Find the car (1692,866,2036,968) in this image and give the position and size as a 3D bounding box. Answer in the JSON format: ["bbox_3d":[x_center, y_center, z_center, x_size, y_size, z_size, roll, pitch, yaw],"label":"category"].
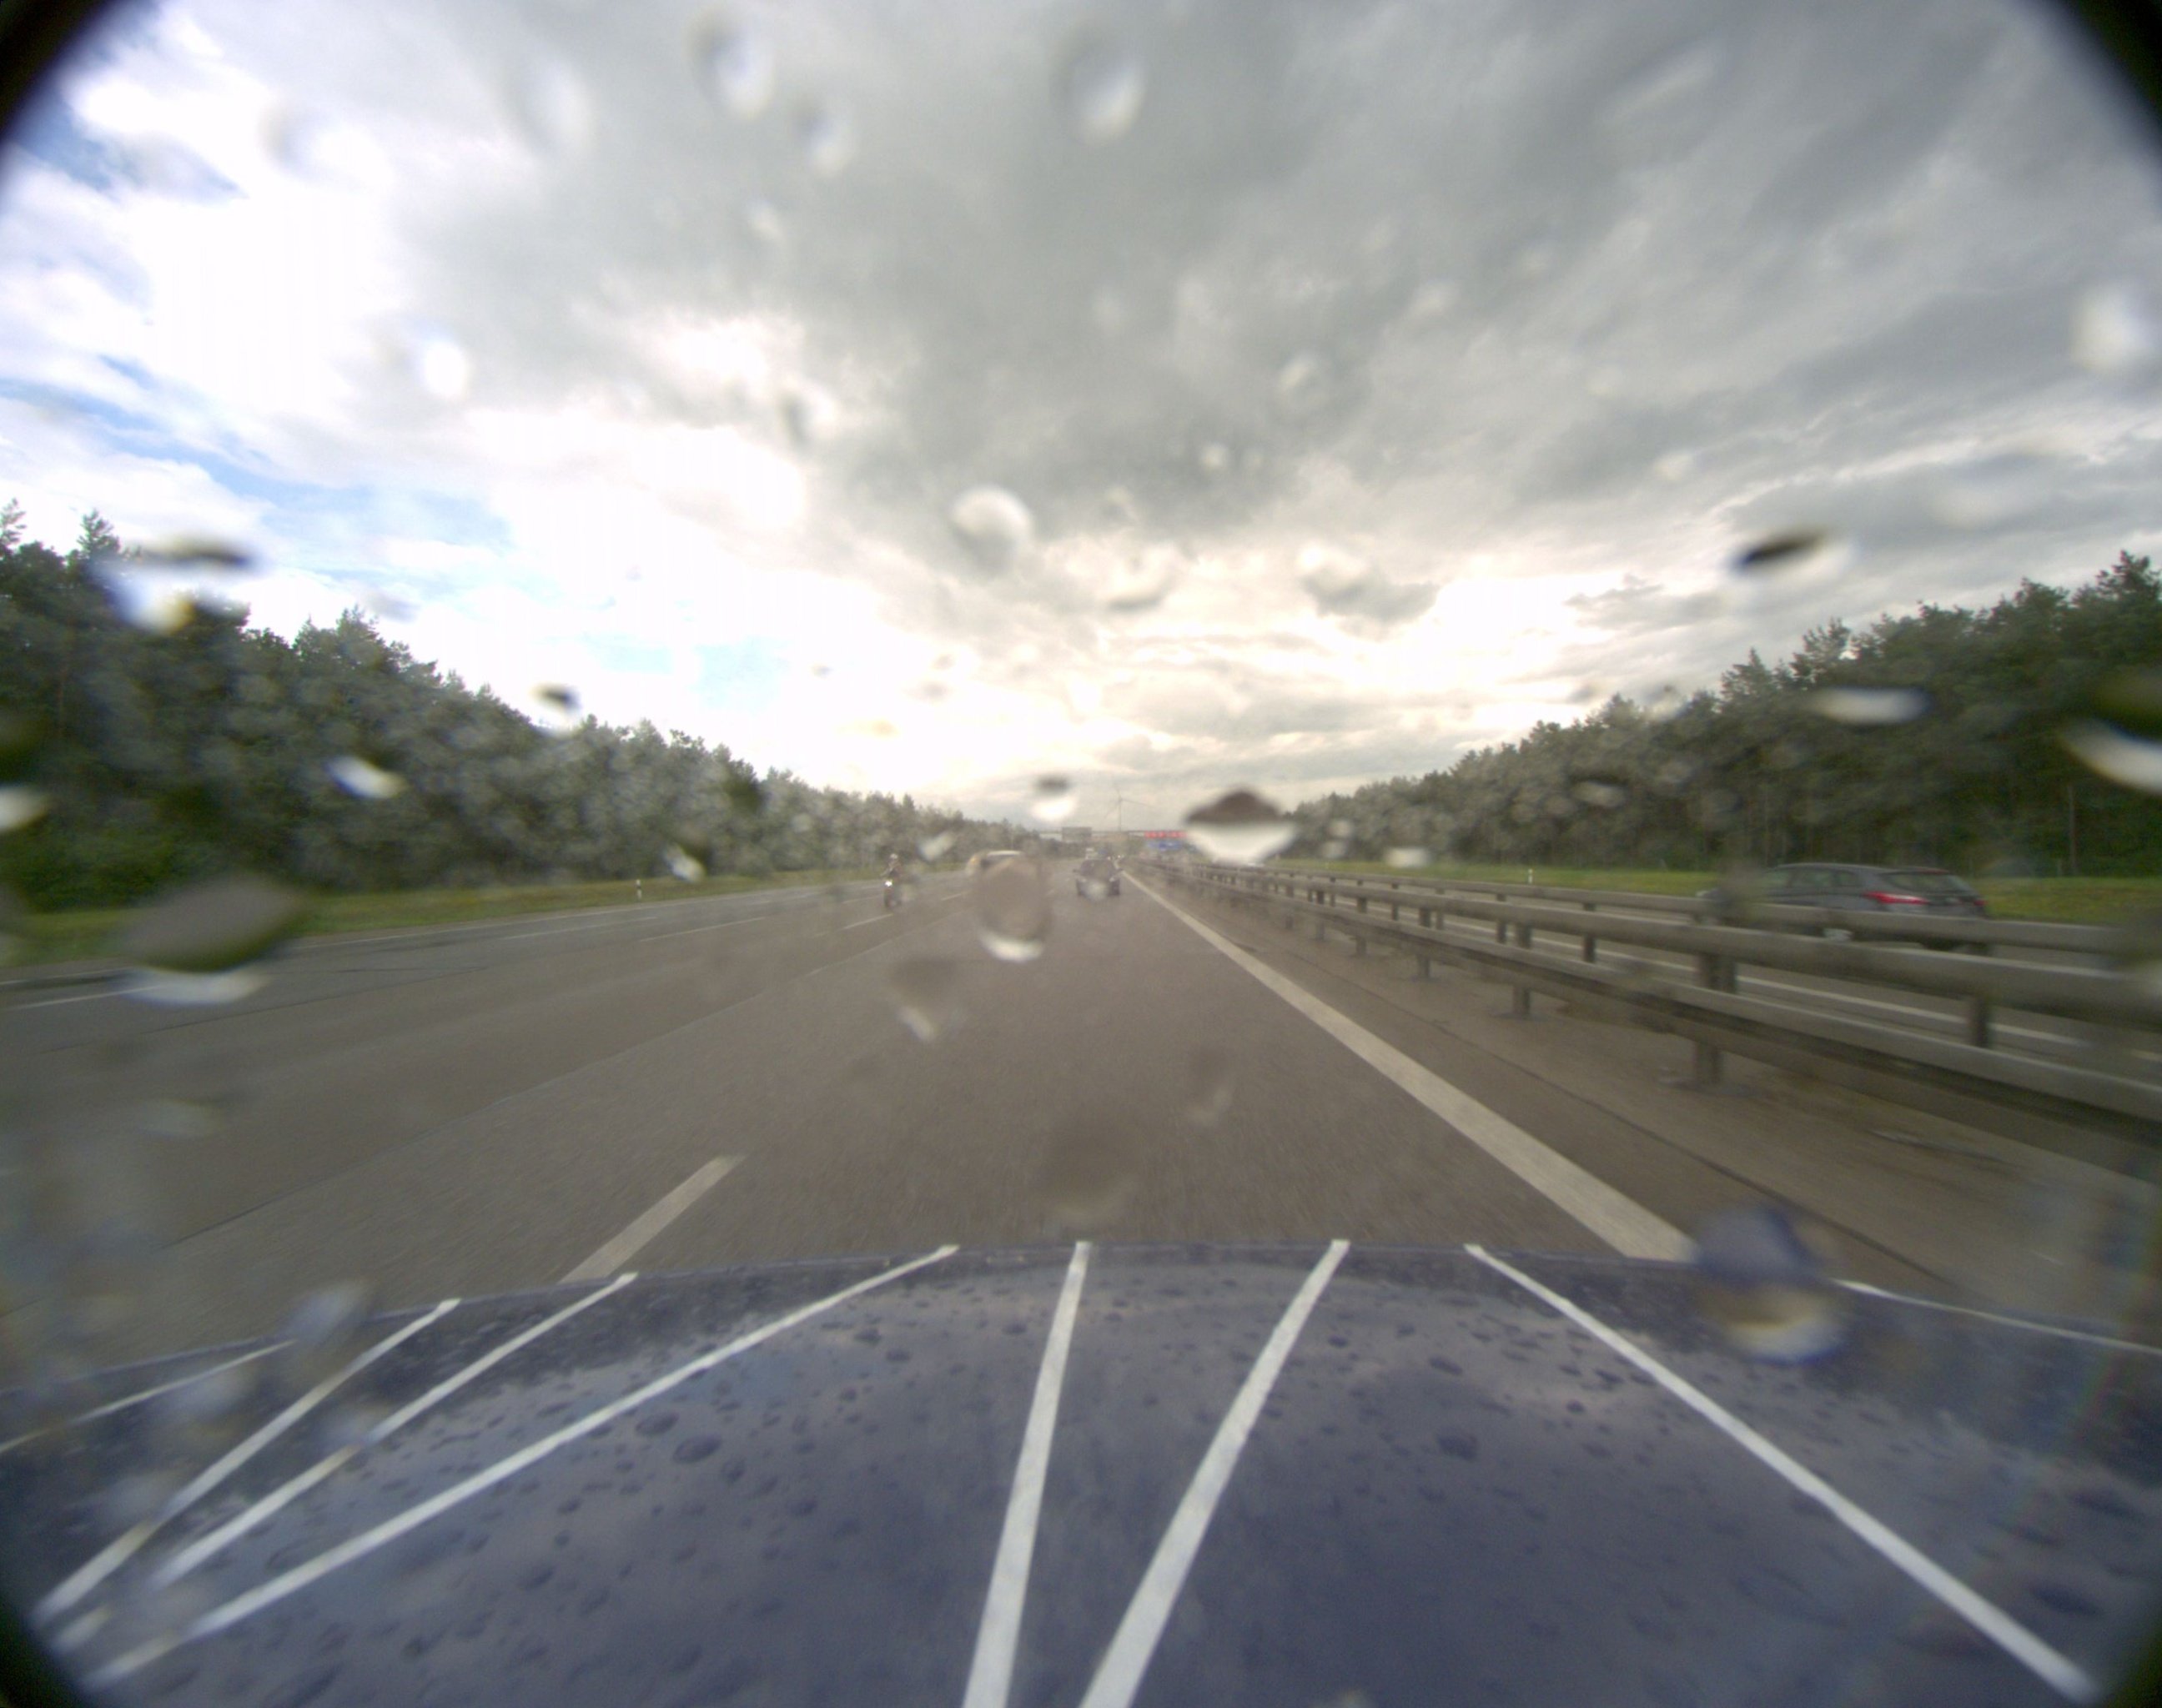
[{"bbox_3d":[13.650,0.989,13.709,1.816,1.414,4.236,2,0,1],"label":"car"}]

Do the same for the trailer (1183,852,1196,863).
[{"bbox_3d":[16.813,0.556,118.233,1.484,1.663,3.208,1,0,0],"label":"trailer"}]

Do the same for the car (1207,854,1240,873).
[{"bbox_3d":[10.832,0.691,58.006,1.732,1.381,4.092,1,0,0],"label":"car"}]

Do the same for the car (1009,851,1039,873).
[{"bbox_3d":[-5.552,0.764,74.517,1.998,2.002,5.485,-2,0,6],"label":"car"}]

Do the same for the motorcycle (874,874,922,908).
[{"bbox_3d":[-6.217,1.247,25.953,1.002,1.025,2.174,-1,0,3],"label":"motorcycle"}]

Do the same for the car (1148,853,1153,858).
[{"bbox_3d":[24.164,0.491,264.170,1.757,1.570,3.848,-1,0,2],"label":"car"}]

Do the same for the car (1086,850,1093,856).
[{"bbox_3d":[2.916,-0.326,251.340,1.998,2.002,4.001,0,0,3],"label":"car"}]

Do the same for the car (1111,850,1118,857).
[{"bbox_3d":[9.965,-0.138,228.111,1.832,1.838,3.999,-3,0,-1],"label":"car"}]

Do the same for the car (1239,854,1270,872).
[{"bbox_3d":[14.732,0.720,64.717,1.732,1.472,3.999,0,0,0],"label":"car"}]

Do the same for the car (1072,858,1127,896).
[{"bbox_3d":[0.816,0.861,30.021,1.809,1.321,4.433,-1,0,6],"label":"car"}]

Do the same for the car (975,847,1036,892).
[{"bbox_3d":[-3.315,0.649,34.301,1.968,1.890,4.882,-1,0,4],"label":"car"}]

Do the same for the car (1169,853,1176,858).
[{"bbox_3d":[27.636,0.490,228.902,1.728,1.388,4.184,2,0,2],"label":"car"}]

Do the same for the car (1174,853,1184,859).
[{"bbox_3d":[23.964,0.514,185.967,1.904,1.539,4.513,2,0,2],"label":"car"}]

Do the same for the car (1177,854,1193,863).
[{"bbox_3d":[16.741,0.661,122.144,1.833,1.412,4.572,1,0,0],"label":"car"}]

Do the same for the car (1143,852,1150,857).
[{"bbox_3d":[17.741,0.059,205.749,1.697,1.368,4.000,-1,0,2],"label":"car"}]

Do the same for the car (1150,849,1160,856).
[{"bbox_3d":[15.356,-0.314,157.596,1.789,1.538,4.403,0,0,1],"label":"car"}]

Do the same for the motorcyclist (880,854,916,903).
[{"bbox_3d":[-6.235,0.818,25.954,0.893,1.605,0.959,-1,1,3],"label":"motorcyclist"}]
